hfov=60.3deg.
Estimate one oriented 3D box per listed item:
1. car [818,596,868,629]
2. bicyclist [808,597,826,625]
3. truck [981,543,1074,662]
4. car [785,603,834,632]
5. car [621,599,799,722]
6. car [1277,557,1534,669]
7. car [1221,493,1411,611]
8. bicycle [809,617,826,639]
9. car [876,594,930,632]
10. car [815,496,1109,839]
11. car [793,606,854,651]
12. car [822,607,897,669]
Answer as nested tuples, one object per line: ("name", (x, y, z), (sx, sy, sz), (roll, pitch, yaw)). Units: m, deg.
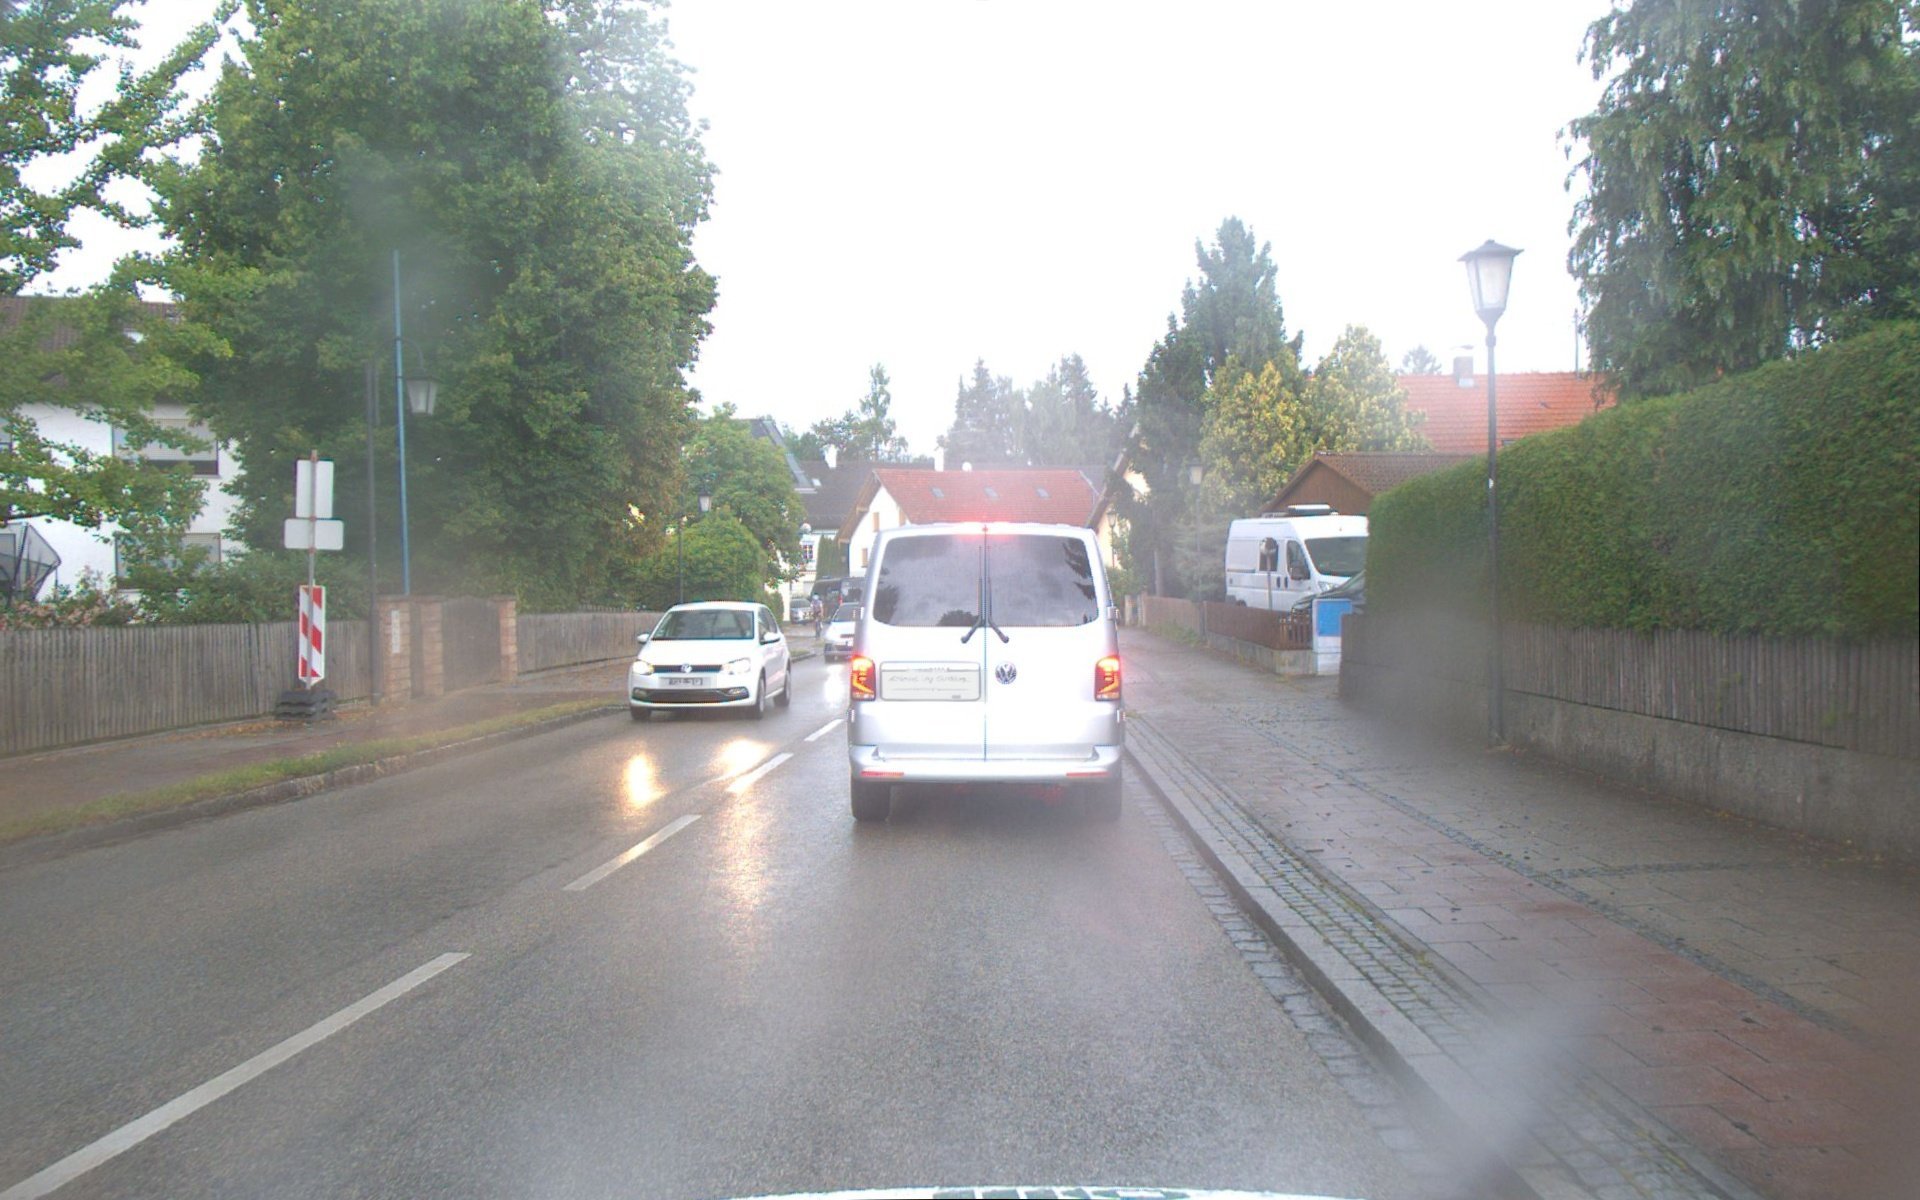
("car", (-7.176, 0.747, 101.105), (1.965, 1.961, 3.974), (1, -1, -22))
("bicyclist", (-5.456, 0.413, 63.226), (0.575, 1.039, 1.060), (0, 0, 1))
("truck", (1.826, 0.088, 47.067), (2.424, 3.128, 6.296), (1, -1, 1))
("car", (-8.705, 1.025, 95.455), (1.800, 1.586, 4.153), (-1, -1, -19))
("car", (-3.158, 0.741, 21.528), (1.584, 1.470, 3.671), (0, -1, 3))
("car", (7.706, 0.194, 28.817), (4.011, 1.782, 1.694), (-1, 2, -3))
("car", (7.186, -0.892, 33.935), (1.958, 2.212, 4.937), (1, -1, -12))
("bicycle", (-5.451, 1.061, 63.153), (0.447, 0.812, 1.977), (0, 0, 1))
("car", (-3.202, 0.742, 92.049), (1.962, 2.049, 3.980), (1, -1, -18))
("car", (0.131, 0.424, 12.014), (1.763, 2.049, 4.001), (1, -1, 3))
("car", (-4.558, 0.941, 55.742), (1.584, 1.470, 3.671), (0, -1, 3))
("car", (-2.494, 0.935, 41.898), (1.681, 1.467, 3.999), (1, -1, -1))
